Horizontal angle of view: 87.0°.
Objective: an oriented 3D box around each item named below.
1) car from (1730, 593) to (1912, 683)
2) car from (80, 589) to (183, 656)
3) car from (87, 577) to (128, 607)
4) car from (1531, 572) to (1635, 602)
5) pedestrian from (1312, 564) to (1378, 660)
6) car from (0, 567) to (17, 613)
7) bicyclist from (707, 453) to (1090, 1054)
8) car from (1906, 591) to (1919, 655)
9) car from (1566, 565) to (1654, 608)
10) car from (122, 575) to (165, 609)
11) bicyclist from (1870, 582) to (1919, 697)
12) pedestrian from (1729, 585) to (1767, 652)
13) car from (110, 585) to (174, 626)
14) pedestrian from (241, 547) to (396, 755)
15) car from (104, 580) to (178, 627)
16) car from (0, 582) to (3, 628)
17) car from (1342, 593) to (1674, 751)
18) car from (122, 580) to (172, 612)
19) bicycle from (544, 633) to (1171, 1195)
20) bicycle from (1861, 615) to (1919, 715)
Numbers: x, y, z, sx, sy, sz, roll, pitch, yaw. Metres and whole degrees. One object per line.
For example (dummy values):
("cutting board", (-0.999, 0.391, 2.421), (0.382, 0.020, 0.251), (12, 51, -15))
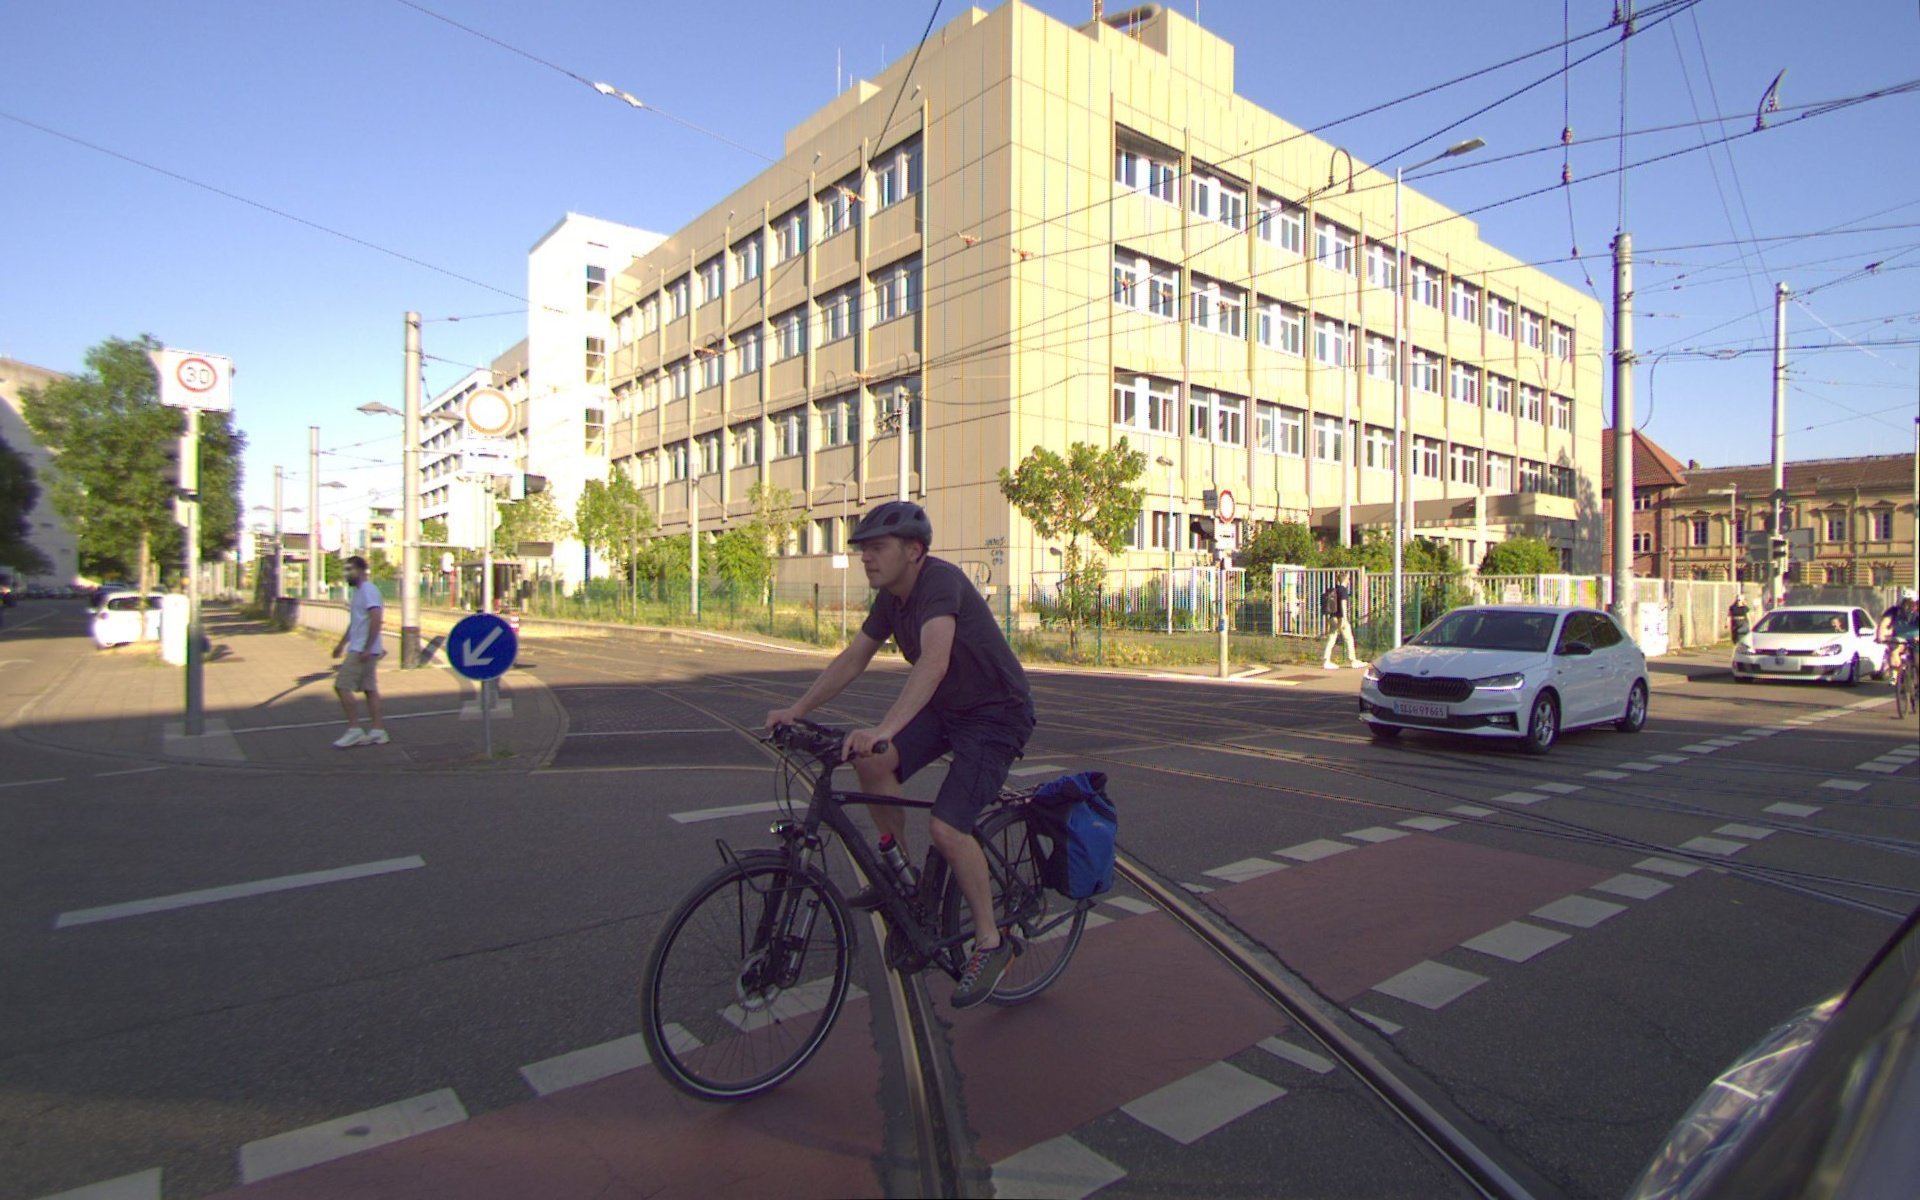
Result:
("car", (16.271, 0.663, 19.059), (4.223, 1.522, 1.792), (0, -2, -39))
("car", (-21.696, 0.528, 26.590), (1.964, 1.633, 3.996), (0, 0, -39))
("car", (-57.588, -0.525, 68.408), (1.963, 1.935, 3.996), (0, -1, -38))
("car", (34.735, -0.732, 56.494), (1.964, 1.601, 4.572), (0, 0, -39))
("pedestrian", (7.460, 0.225, 19.652), (1.064, 1.836, 0.735), (0, 0, 8))
("car", (-59.191, -0.574, 61.812), (2.019, 2.708, 5.011), (0, -1, -40))
("bicyclist", (-0.196, 0.410, 3.305), (1.068, 1.623, 0.652), (0, 0, -34))
("car", (26.850, 0.554, 26.926), (4.223, 1.665, 1.792), (0, -2, -39))
("car", (29.820, -0.590, 46.383), (4.698, 1.866, 1.998), (0, 0, -39))
("car", (-49.612, -0.489, 61.509), (1.964, 1.946, 3.996), (0, 0, -39))
("bicyclist", (12.243, 0.491, 12.981), (0.844, 1.440, 0.727), (0, -1, -42))
("pedestrian", (21.087, 0.485, 27.091), (0.755, 1.784, 0.593), (0, 0, -34))
("car", (-33.512, 0.192, 41.505), (1.964, 1.621, 3.996), (0, 0, -39))
("pedestrian", (-6.079, 0.447, 9.624), (1.192, 1.847, 0.780), (0, 0, -34))
("car", (-29.535, 0.102, 36.551), (1.964, 1.621, 3.996), (0, 0, -39))
("car", (-36.035, 0.186, 36.418), (1.951, 1.717, 3.996), (2, -1, -39))
("car", (6.018, 0.651, 10.946), (4.000, 1.407, 1.705), (0, -1, -38))
("car", (-42.357, -0.205, 52.787), (1.964, 1.621, 3.996), (0, 0, -39))
("bicycle", (-0.246, 0.782, 3.252), (1.928, 1.297, 0.652), (0, 0, -34))
("bicycle", (12.221, 0.795, 12.951), (2.266, 1.159, 0.763), (0, 0, -41))
